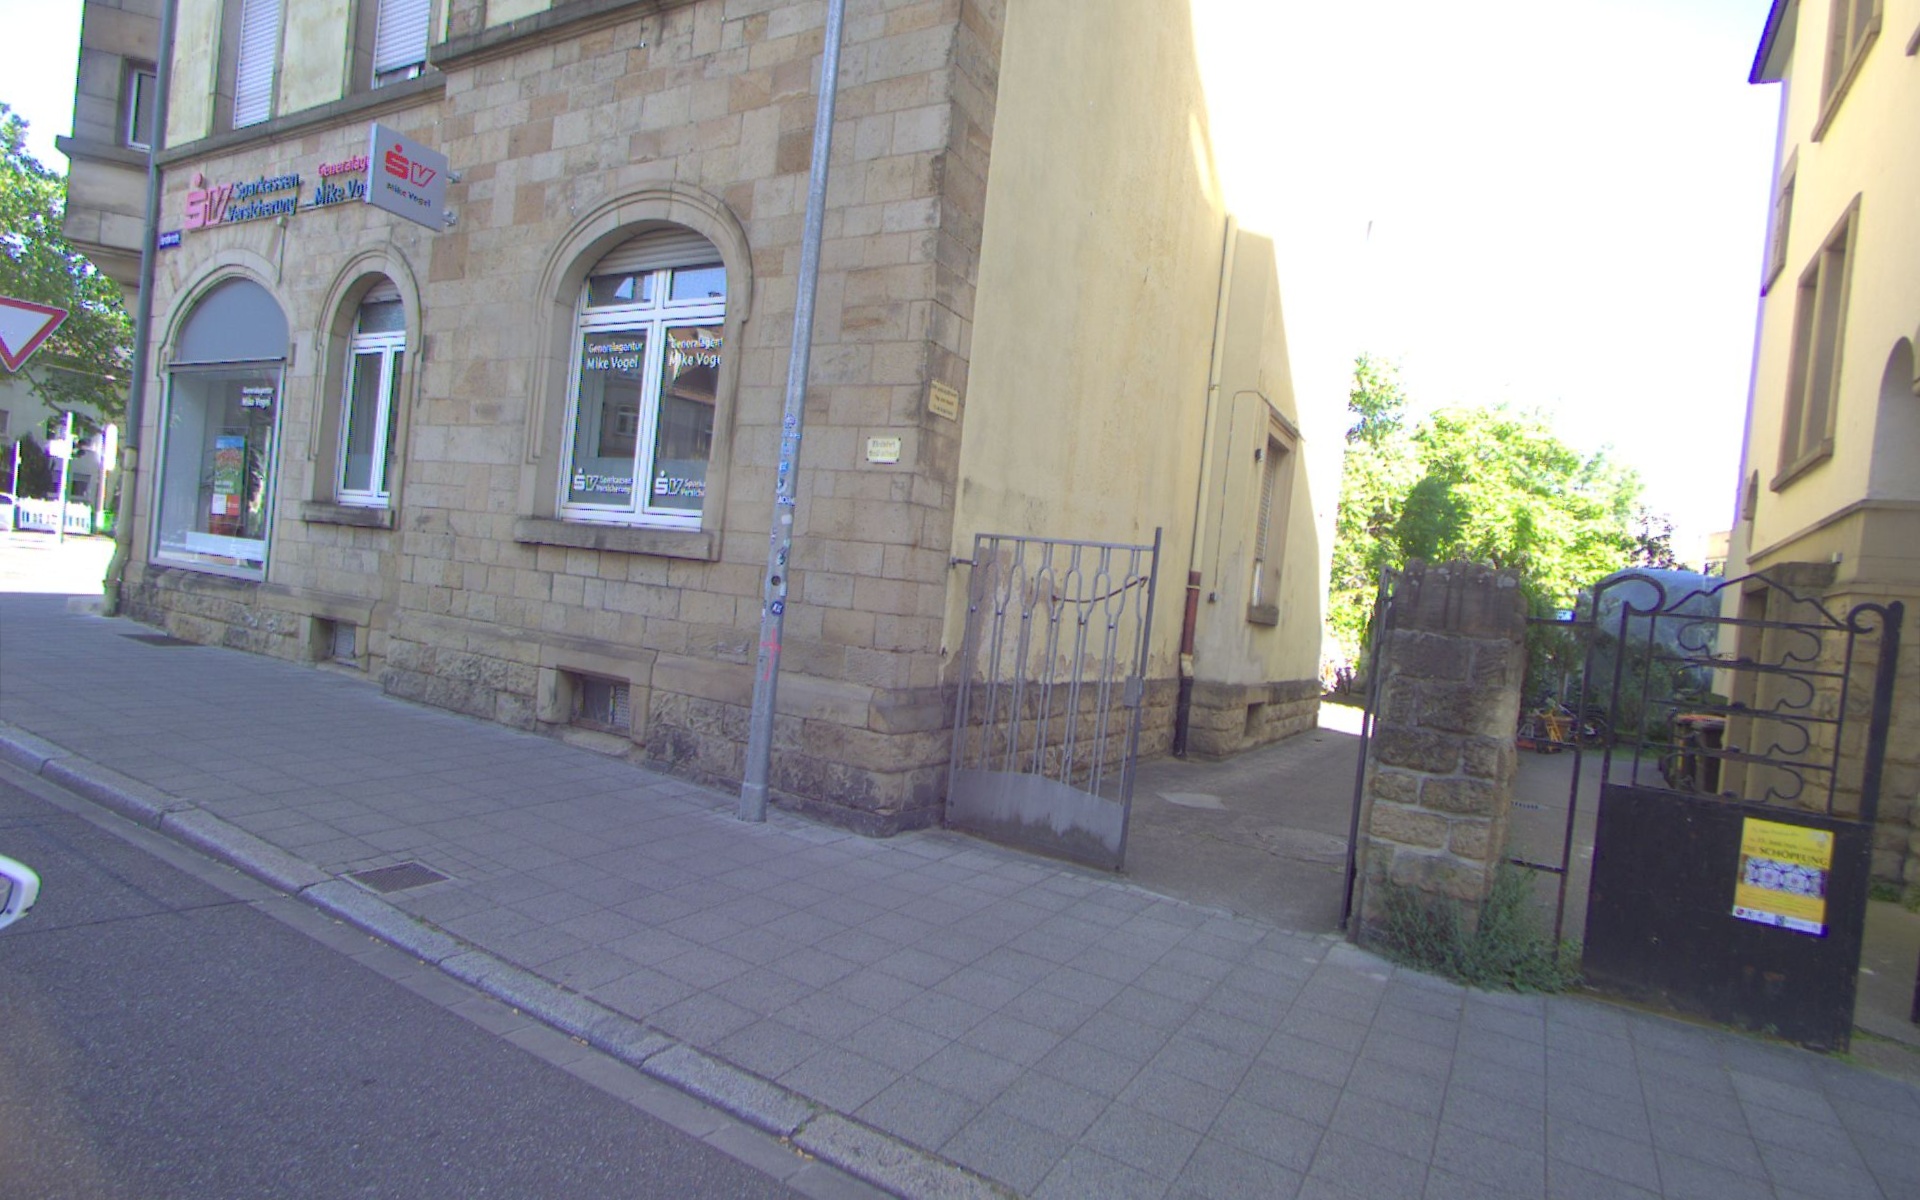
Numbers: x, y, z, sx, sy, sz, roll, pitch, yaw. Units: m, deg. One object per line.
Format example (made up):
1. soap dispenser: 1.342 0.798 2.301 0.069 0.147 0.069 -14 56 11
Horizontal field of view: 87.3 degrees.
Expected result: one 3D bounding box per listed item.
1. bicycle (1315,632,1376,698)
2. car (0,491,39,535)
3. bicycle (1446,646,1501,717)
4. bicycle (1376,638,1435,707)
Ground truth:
1. bicycle: 9.979 1.645 25.970 0.904 1.532 2.667 6 2 31
2. car: -35.998 -3.337 36.423 1.474 1.475 3.645 7 0 12
3. bicycle: 12.598 1.939 24.639 0.904 1.532 2.667 6 2 31
4. bicycle: 11.212 1.780 25.253 0.904 1.532 2.667 6 2 31
